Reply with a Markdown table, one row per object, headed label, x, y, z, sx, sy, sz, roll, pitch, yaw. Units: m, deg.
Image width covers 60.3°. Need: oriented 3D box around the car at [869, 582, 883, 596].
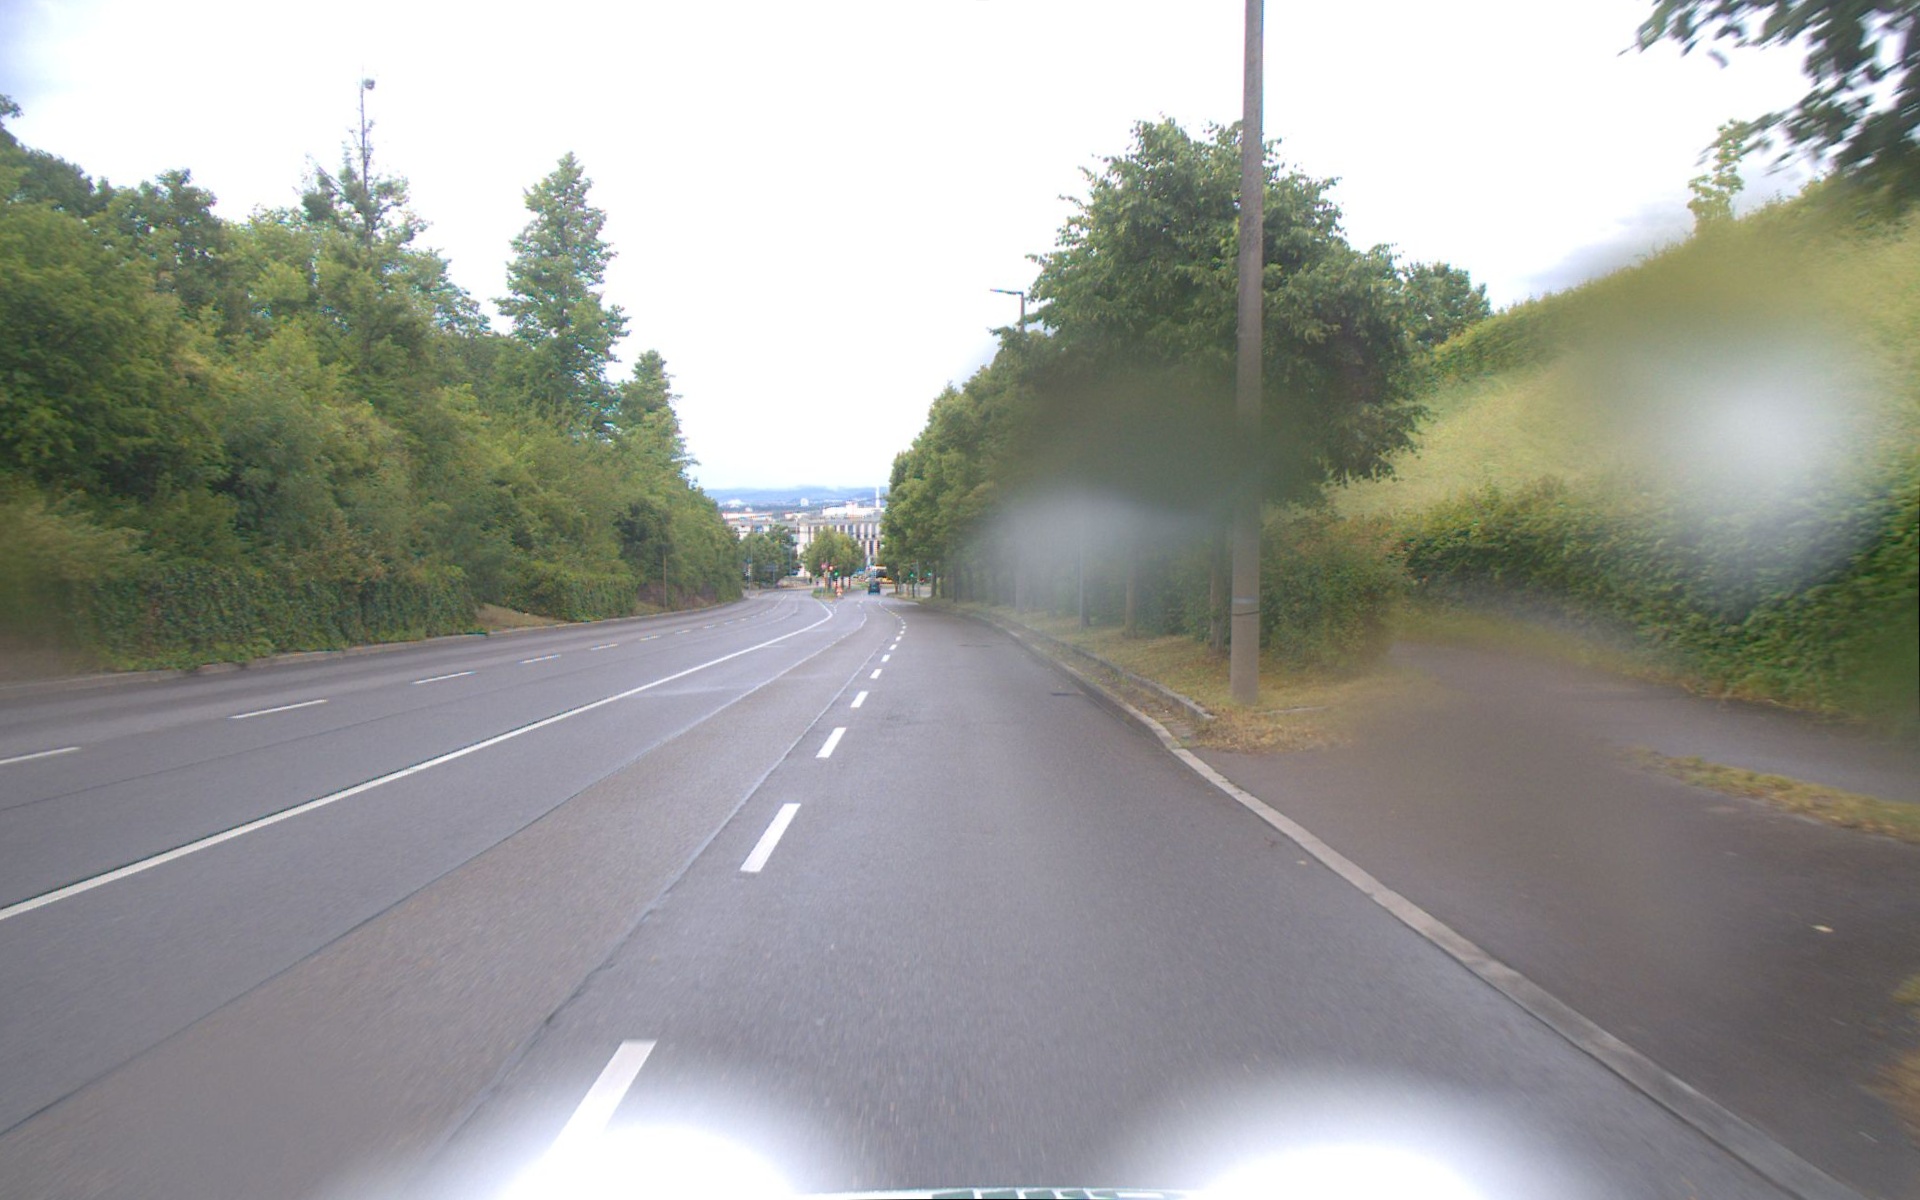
| label | x | y | z | sx | sy | sz | roll | pitch | yaw |
| --- | --- | --- | --- | --- | --- | --- | --- | --- | --- |
| car | -11.460 | -1.445 | 224.581 | 1.812 | 1.731 | 3.791 | 2 | -1 | -2 |
